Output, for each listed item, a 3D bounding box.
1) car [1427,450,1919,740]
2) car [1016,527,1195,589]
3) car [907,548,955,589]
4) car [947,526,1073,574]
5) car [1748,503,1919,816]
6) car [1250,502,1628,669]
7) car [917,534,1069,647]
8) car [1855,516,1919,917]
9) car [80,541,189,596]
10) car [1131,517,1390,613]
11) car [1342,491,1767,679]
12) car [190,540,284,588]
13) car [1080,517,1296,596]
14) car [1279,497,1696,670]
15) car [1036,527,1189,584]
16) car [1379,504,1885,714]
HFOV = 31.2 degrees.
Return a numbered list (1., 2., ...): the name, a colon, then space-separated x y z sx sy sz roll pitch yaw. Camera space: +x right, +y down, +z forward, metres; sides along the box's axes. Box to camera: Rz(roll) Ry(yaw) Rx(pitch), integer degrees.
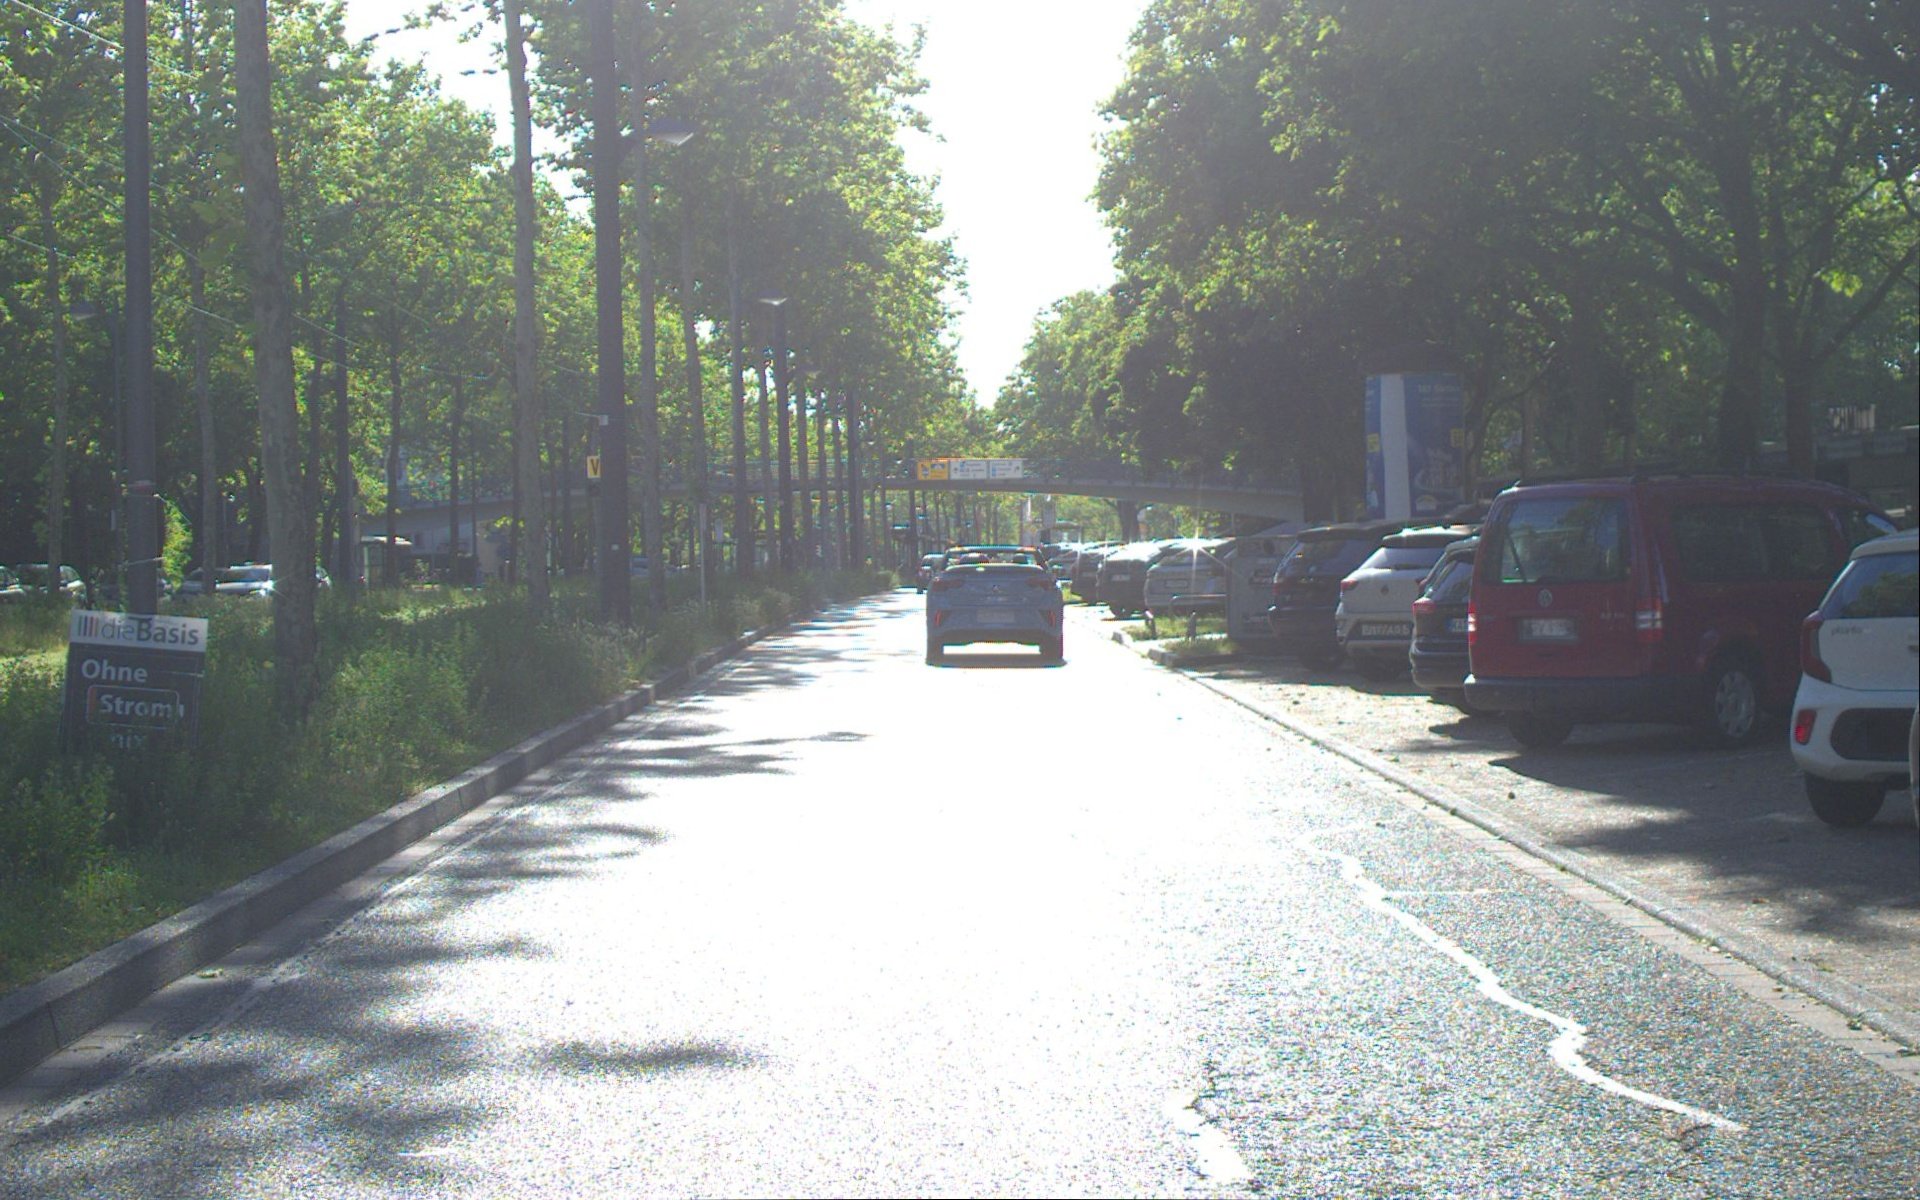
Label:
1. car: 5.277 -0.087 23.908 4.073 1.804 1.650 -3 1 -40
2. car: 3.733 -1.082 87.506 1.978 1.454 4.613 -1 1 44
3. car: -1.128 -1.260 134.785 1.849 1.530 3.866 -1 1 0
4. car: 1.848 -1.841 126.403 4.611 1.762 1.856 -1 1 -43
5. car: 5.655 0.207 17.292 1.650 1.443 3.618 -1 2 43
6. car: 5.345 -0.195 38.074 4.308 1.711 1.635 -2 2 -39
7. car: 0.426 -0.156 45.494 1.922 1.406 4.000 0 1 0
8. car: 5.276 0.344 13.454 3.777 1.465 1.650 -3 2 -44
9. car: -23.134 -0.889 96.481 1.993 1.448 4.000 2 1 1
10. car: 5.160 -0.611 58.604 4.482 1.438 1.855 -3 2 -44
11. car: 5.652 -0.165 32.433 4.074 1.576 1.780 -3 2 -42
12. car: -22.771 -1.148 108.411 1.993 1.448 4.000 2 1 1
13. car: 4.600 -0.881 69.042 4.318 1.420 1.855 -3 2 -44
14. car: 5.442 -0.192 35.302 4.072 1.576 1.781 -3 1 -35
15. car: 4.578 -1.342 102.799 4.611 1.674 1.856 -1 1 -43
16. car: 5.478 0.039 27.826 4.073 1.476 1.651 -3 1 -36
